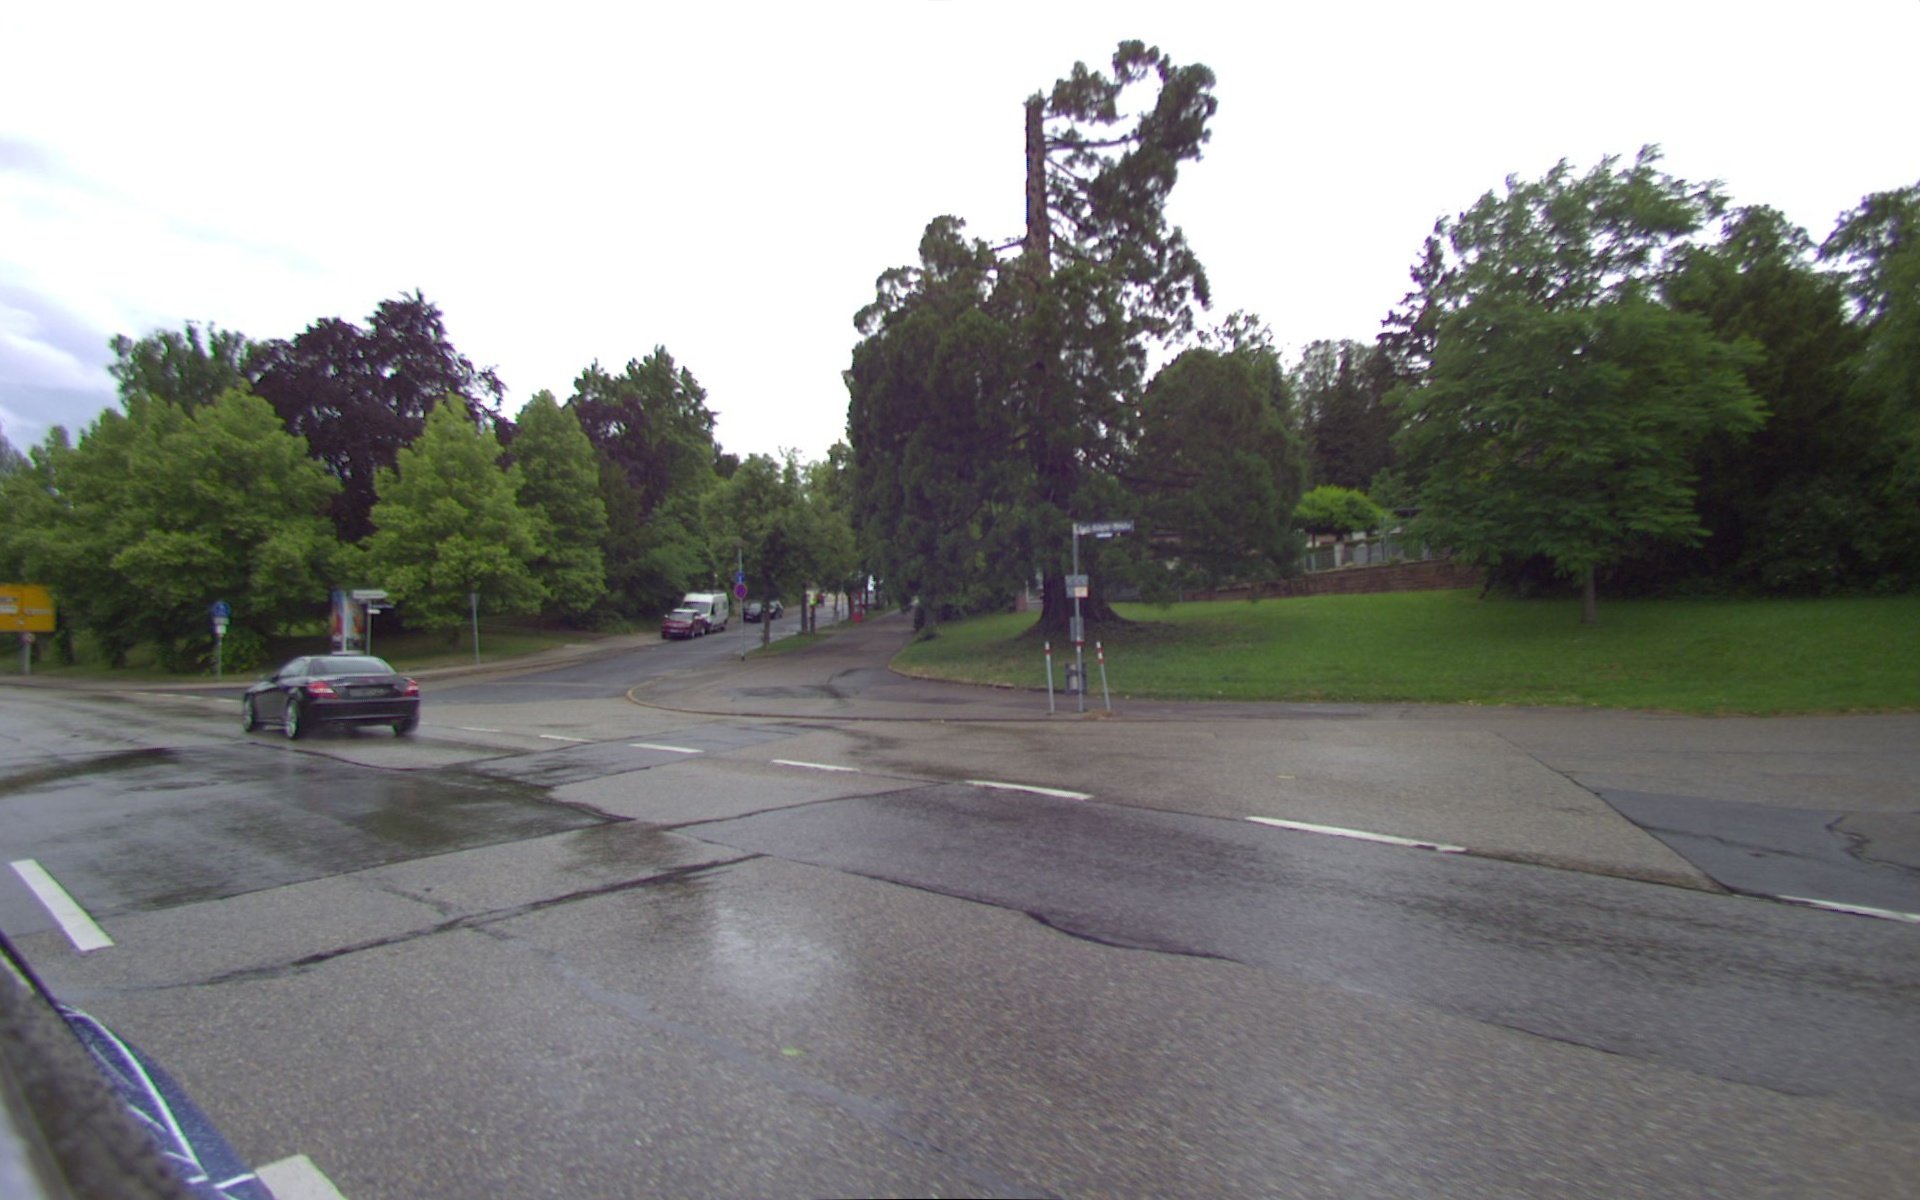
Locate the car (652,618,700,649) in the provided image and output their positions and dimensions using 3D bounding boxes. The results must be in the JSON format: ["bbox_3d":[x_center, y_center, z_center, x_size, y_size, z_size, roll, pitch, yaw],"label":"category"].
[{"bbox_3d":[-16.381,1.897,58.603,1.947,1.681,4.004,-2,-1,-5],"label":"car"}]

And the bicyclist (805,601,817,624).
[{"bbox_3d":[-11.745,0.991,79.827,0.841,1.769,1.288,1,-2,-8],"label":"bicyclist"}]

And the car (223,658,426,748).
[{"bbox_3d":[-10.607,1.662,16.791,4.079,1.317,1.644,-4,-6,40],"label":"car"}]

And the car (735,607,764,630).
[{"bbox_3d":[-16.326,1.446,78.571,1.799,1.681,4.005,-2,-1,-6],"label":"car"}]

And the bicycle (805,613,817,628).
[{"bbox_3d":[-11.750,1.649,79.788,0.841,1.164,2.041,1,-2,-8],"label":"bicycle"}]

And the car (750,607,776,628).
[{"bbox_3d":[-16.381,1.478,84.174,1.799,1.681,4.005,-2,-1,-6],"label":"car"}]

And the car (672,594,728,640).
[{"bbox_3d":[-16.384,1.059,64.145,2.127,2.720,5.671,-2,-1,-1],"label":"car"}]

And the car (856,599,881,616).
[{"bbox_3d":[-9.568,0.794,106.401,1.852,1.682,4.197,-2,0,6],"label":"car"}]
